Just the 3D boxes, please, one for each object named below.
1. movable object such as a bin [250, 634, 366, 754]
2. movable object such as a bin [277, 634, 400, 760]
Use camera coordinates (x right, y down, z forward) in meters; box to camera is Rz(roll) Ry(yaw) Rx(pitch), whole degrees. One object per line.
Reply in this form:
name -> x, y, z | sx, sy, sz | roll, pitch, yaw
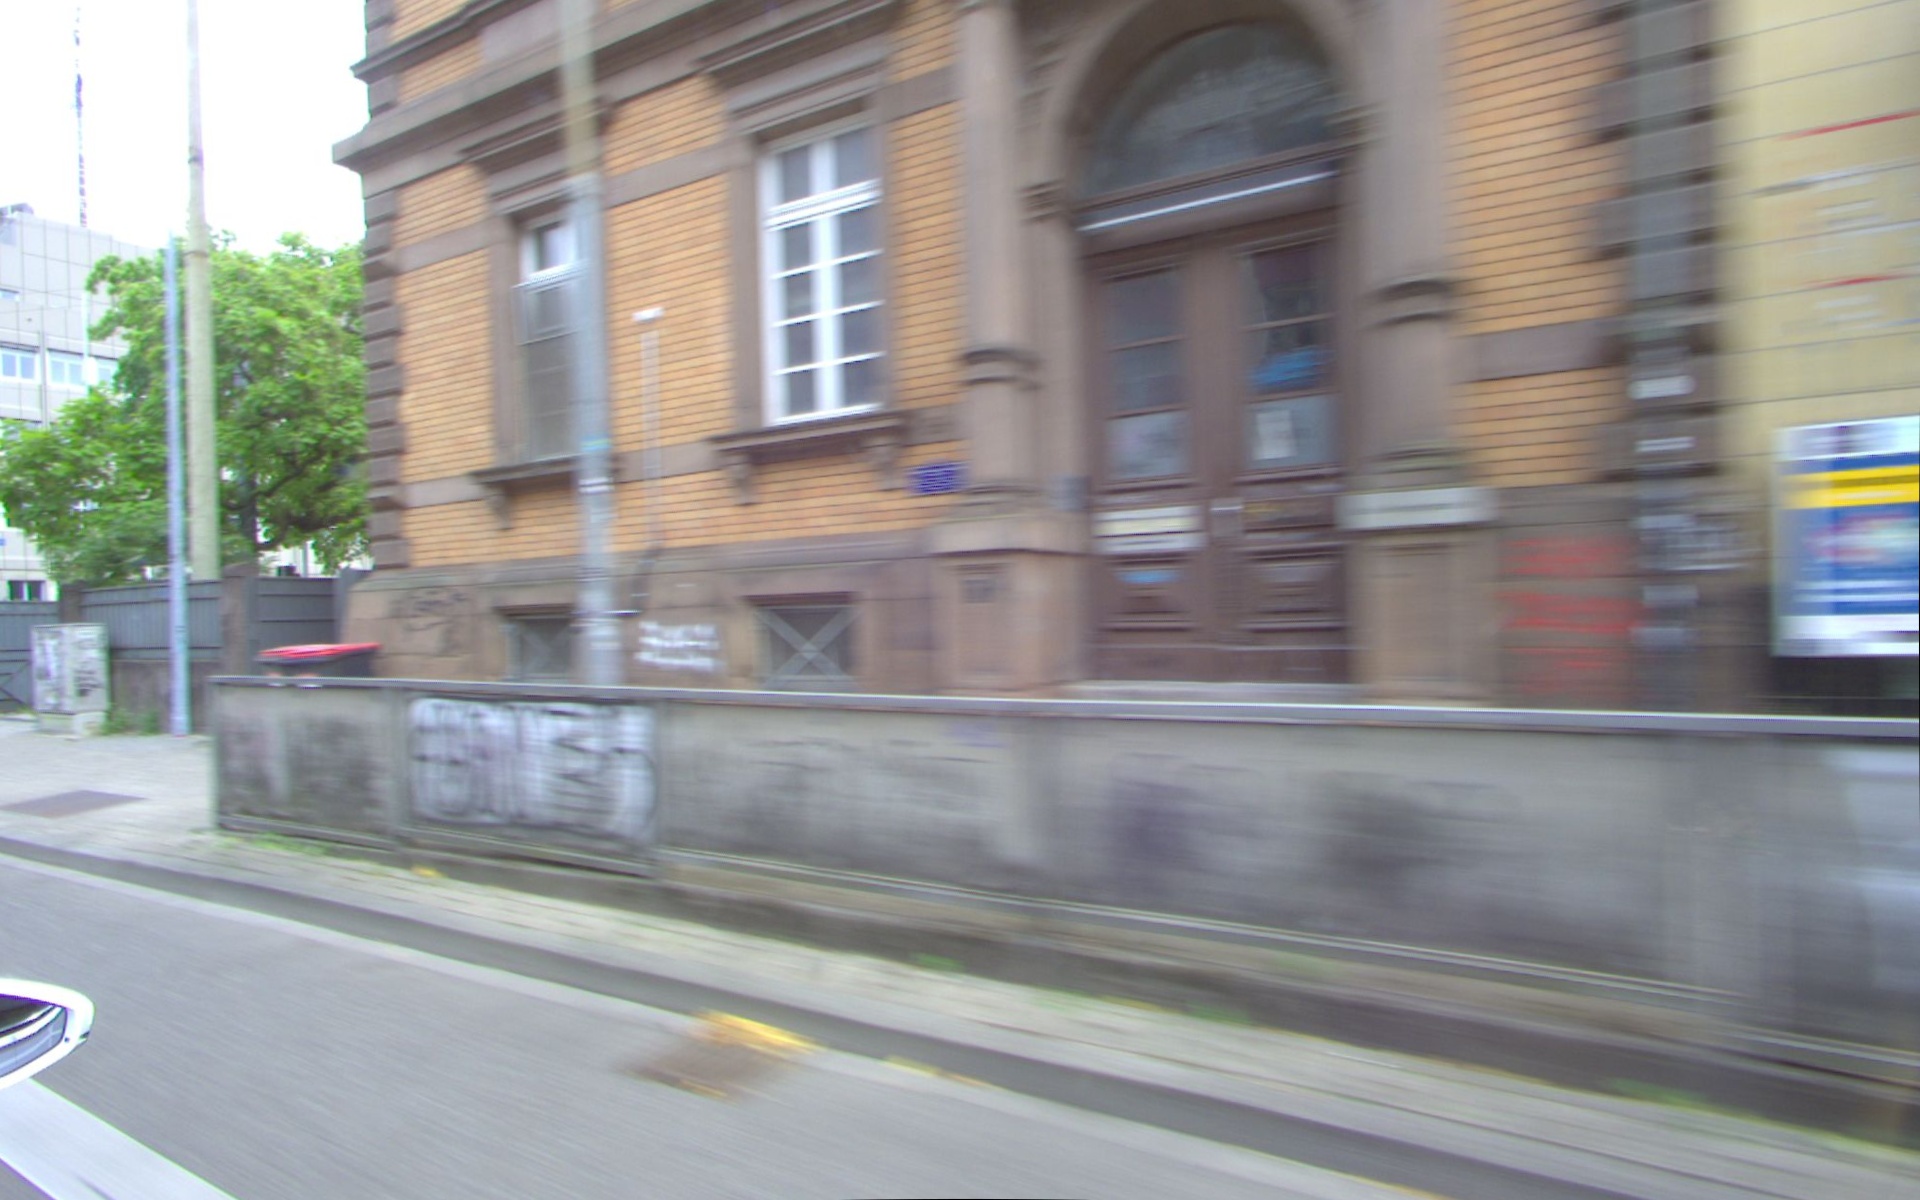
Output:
movable object such as a bin -> -6.519, 0.926, 10.029 | 0.667, 1.097, 0.650 | -2, 3, 27
movable object such as a bin -> -5.951, 0.913, 9.604 | 0.690, 1.097, 0.662 | -2, 3, 27
